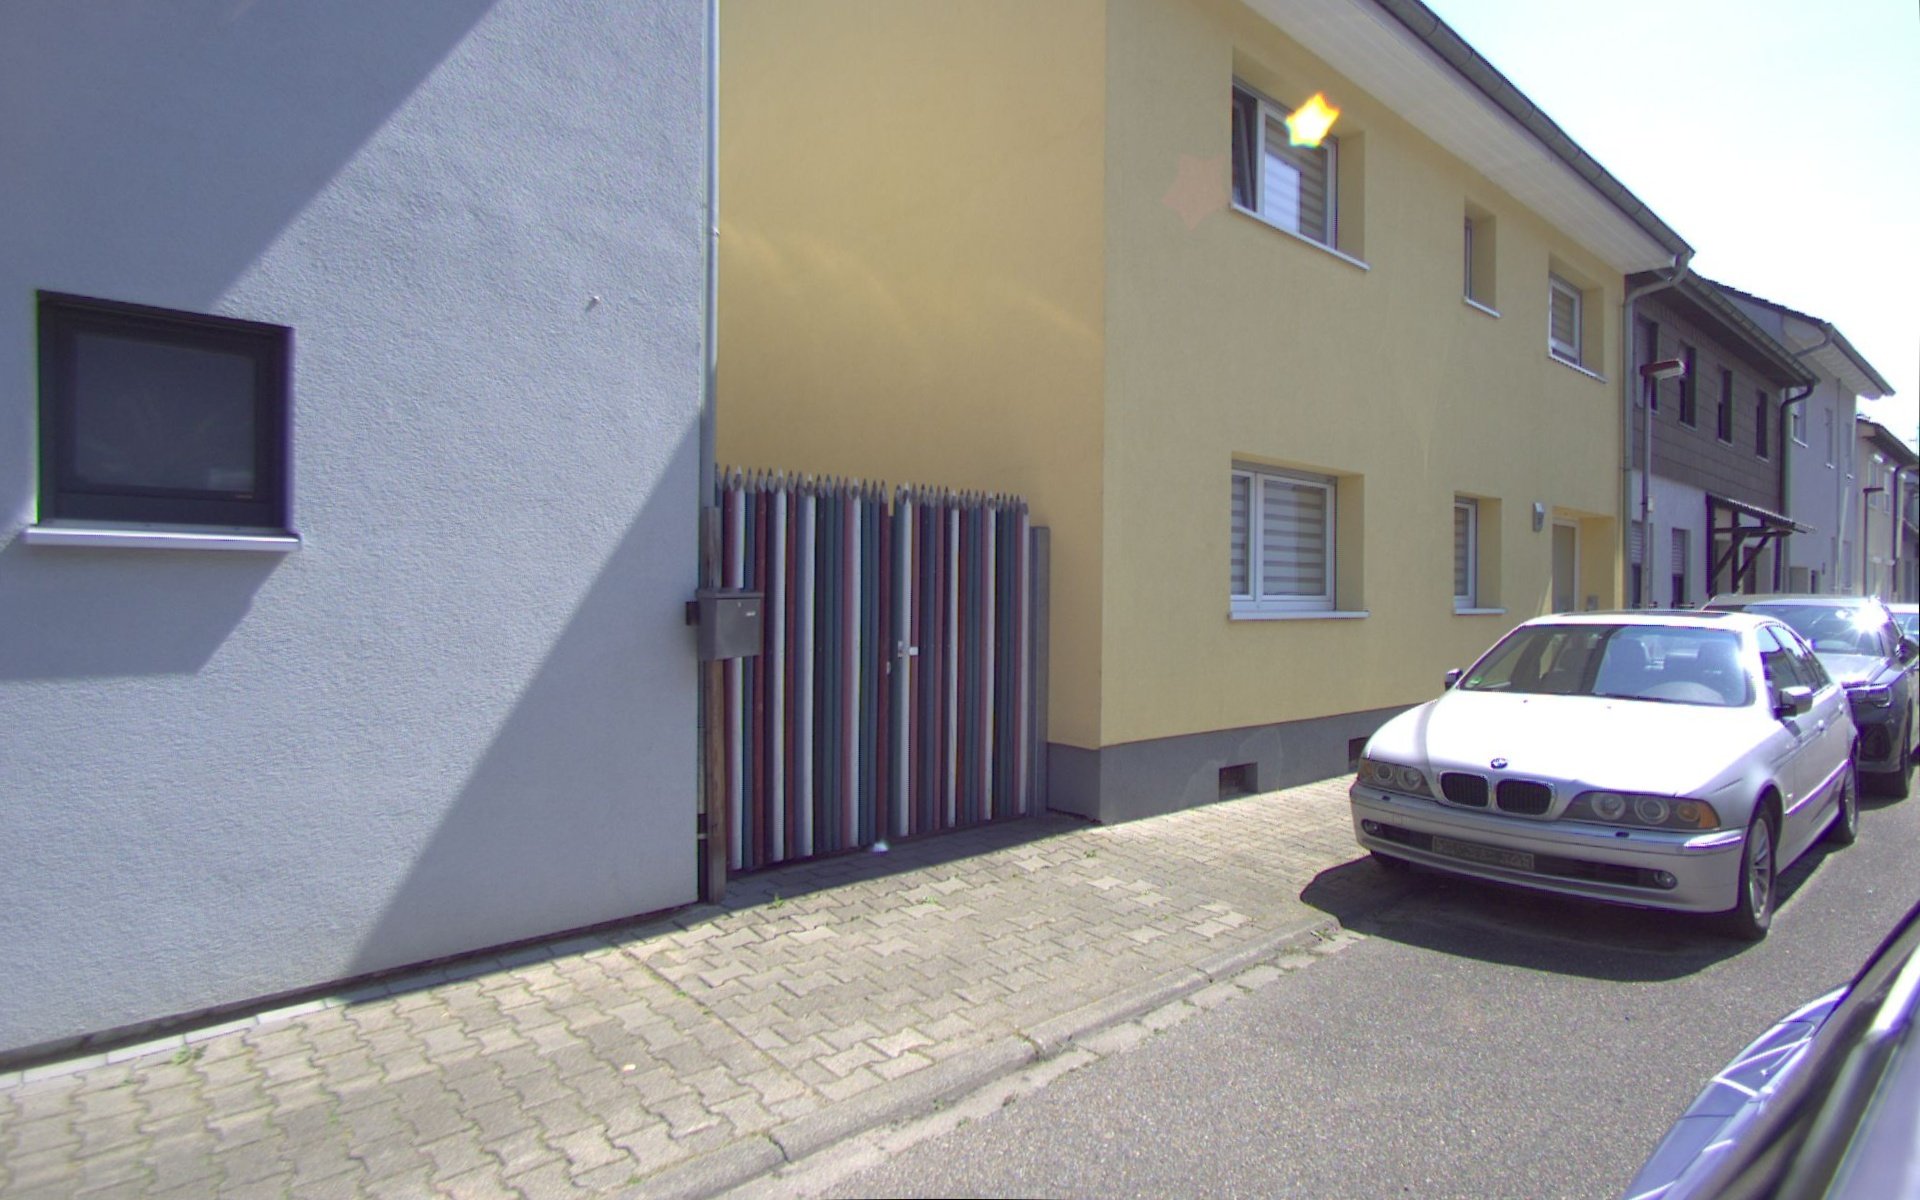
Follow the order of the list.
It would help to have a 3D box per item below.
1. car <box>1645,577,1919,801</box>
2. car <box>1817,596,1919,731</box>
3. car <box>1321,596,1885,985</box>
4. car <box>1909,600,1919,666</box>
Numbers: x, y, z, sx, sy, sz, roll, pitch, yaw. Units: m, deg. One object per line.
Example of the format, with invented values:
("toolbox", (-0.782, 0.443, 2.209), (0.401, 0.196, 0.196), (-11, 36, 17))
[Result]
("car", (7.748, 0.624, 9.236), (3.896, 1.604, 1.681), (0, 0, -43))
("car", (12.142, 0.722, 12.924), (3.340, 1.547, 1.401), (0, 0, -42))
("car", (3.936, 0.716, 5.867), (4.175, 1.432, 1.665), (0, 2, -42))
("car", (23.650, 0.736, 23.725), (3.977, 1.487, 1.740), (0, 0, -43))
